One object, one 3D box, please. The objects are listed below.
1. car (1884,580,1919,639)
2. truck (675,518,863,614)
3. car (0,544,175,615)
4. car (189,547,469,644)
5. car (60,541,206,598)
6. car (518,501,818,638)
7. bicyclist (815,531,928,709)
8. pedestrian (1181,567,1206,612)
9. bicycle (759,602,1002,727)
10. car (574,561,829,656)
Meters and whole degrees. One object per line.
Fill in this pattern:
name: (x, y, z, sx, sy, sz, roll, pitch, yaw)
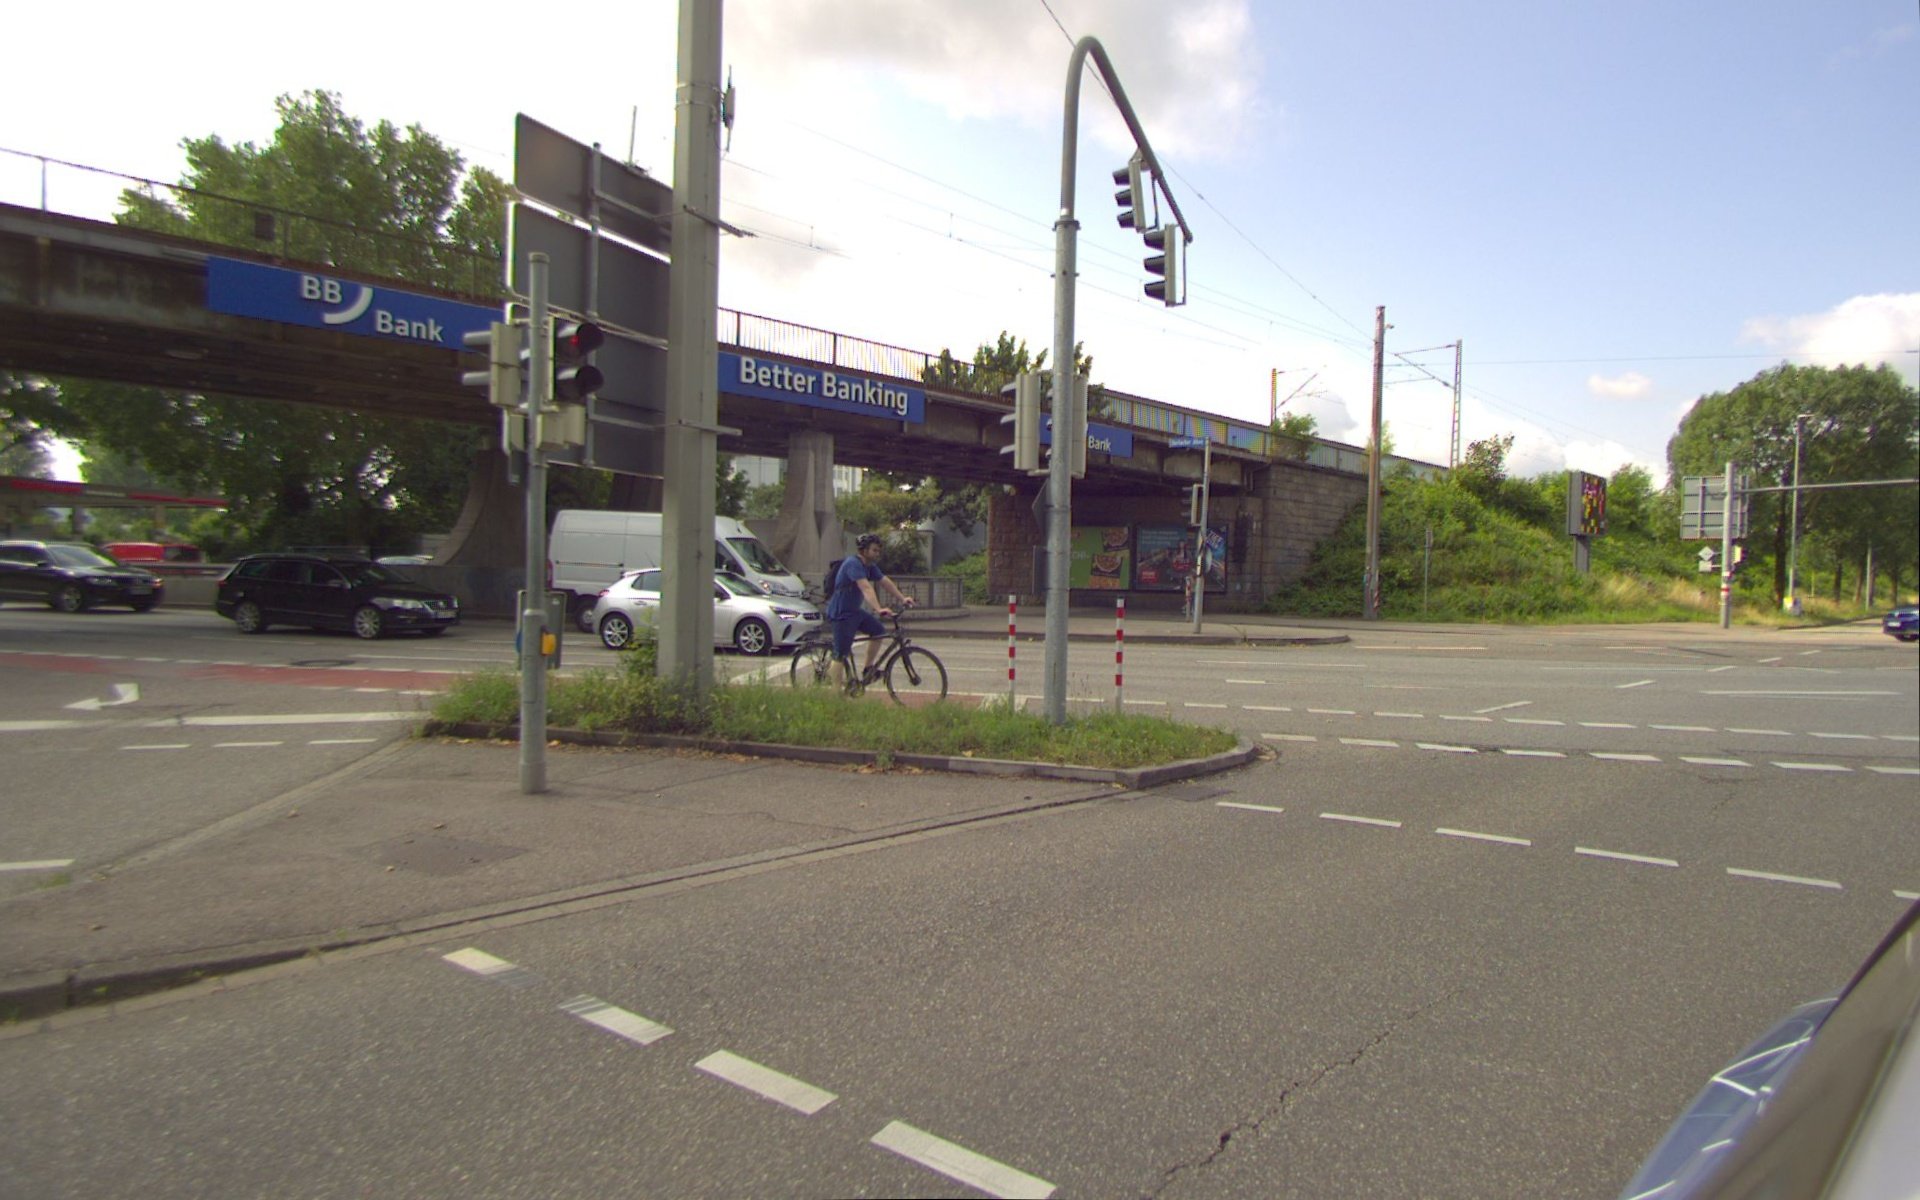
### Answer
car: (29.421, 0.251, 28.579, 4.511, 1.594, 1.887, -1, 3, 13)
truck: (-6.505, -1.134, 34.874, 5.924, 3.161, 2.450, 0, -1, 7)
car: (-21.383, -0.505, 24.236, 4.252, 1.595, 1.846, 1, 0, 14)
car: (-11.943, -0.135, 19.251, 4.591, 1.602, 1.765, 2, 2, 11)
car: (-32.586, -1.210, 39.928, 4.602, 2.042, 1.956, 2, 0, 11)
car: (-6.021, -0.658, 21.147, 5.542, 2.556, 2.258, -1, 4, 14)
bicyclist: (-0.875, 0.174, 10.191, 0.813, 1.698, 0.840, -1, 3, 20)
pedestrian: (8.923, -0.409, 38.735, 0.689, 1.671, 0.600, 0, 3, 42)
bicycle: (-0.798, 0.611, 10.200, 2.289, 1.106, 0.840, -1, 4, 20)
car: (-4.397, 0.094, 17.437, 3.938, 1.494, 1.703, 1, 2, 12)
